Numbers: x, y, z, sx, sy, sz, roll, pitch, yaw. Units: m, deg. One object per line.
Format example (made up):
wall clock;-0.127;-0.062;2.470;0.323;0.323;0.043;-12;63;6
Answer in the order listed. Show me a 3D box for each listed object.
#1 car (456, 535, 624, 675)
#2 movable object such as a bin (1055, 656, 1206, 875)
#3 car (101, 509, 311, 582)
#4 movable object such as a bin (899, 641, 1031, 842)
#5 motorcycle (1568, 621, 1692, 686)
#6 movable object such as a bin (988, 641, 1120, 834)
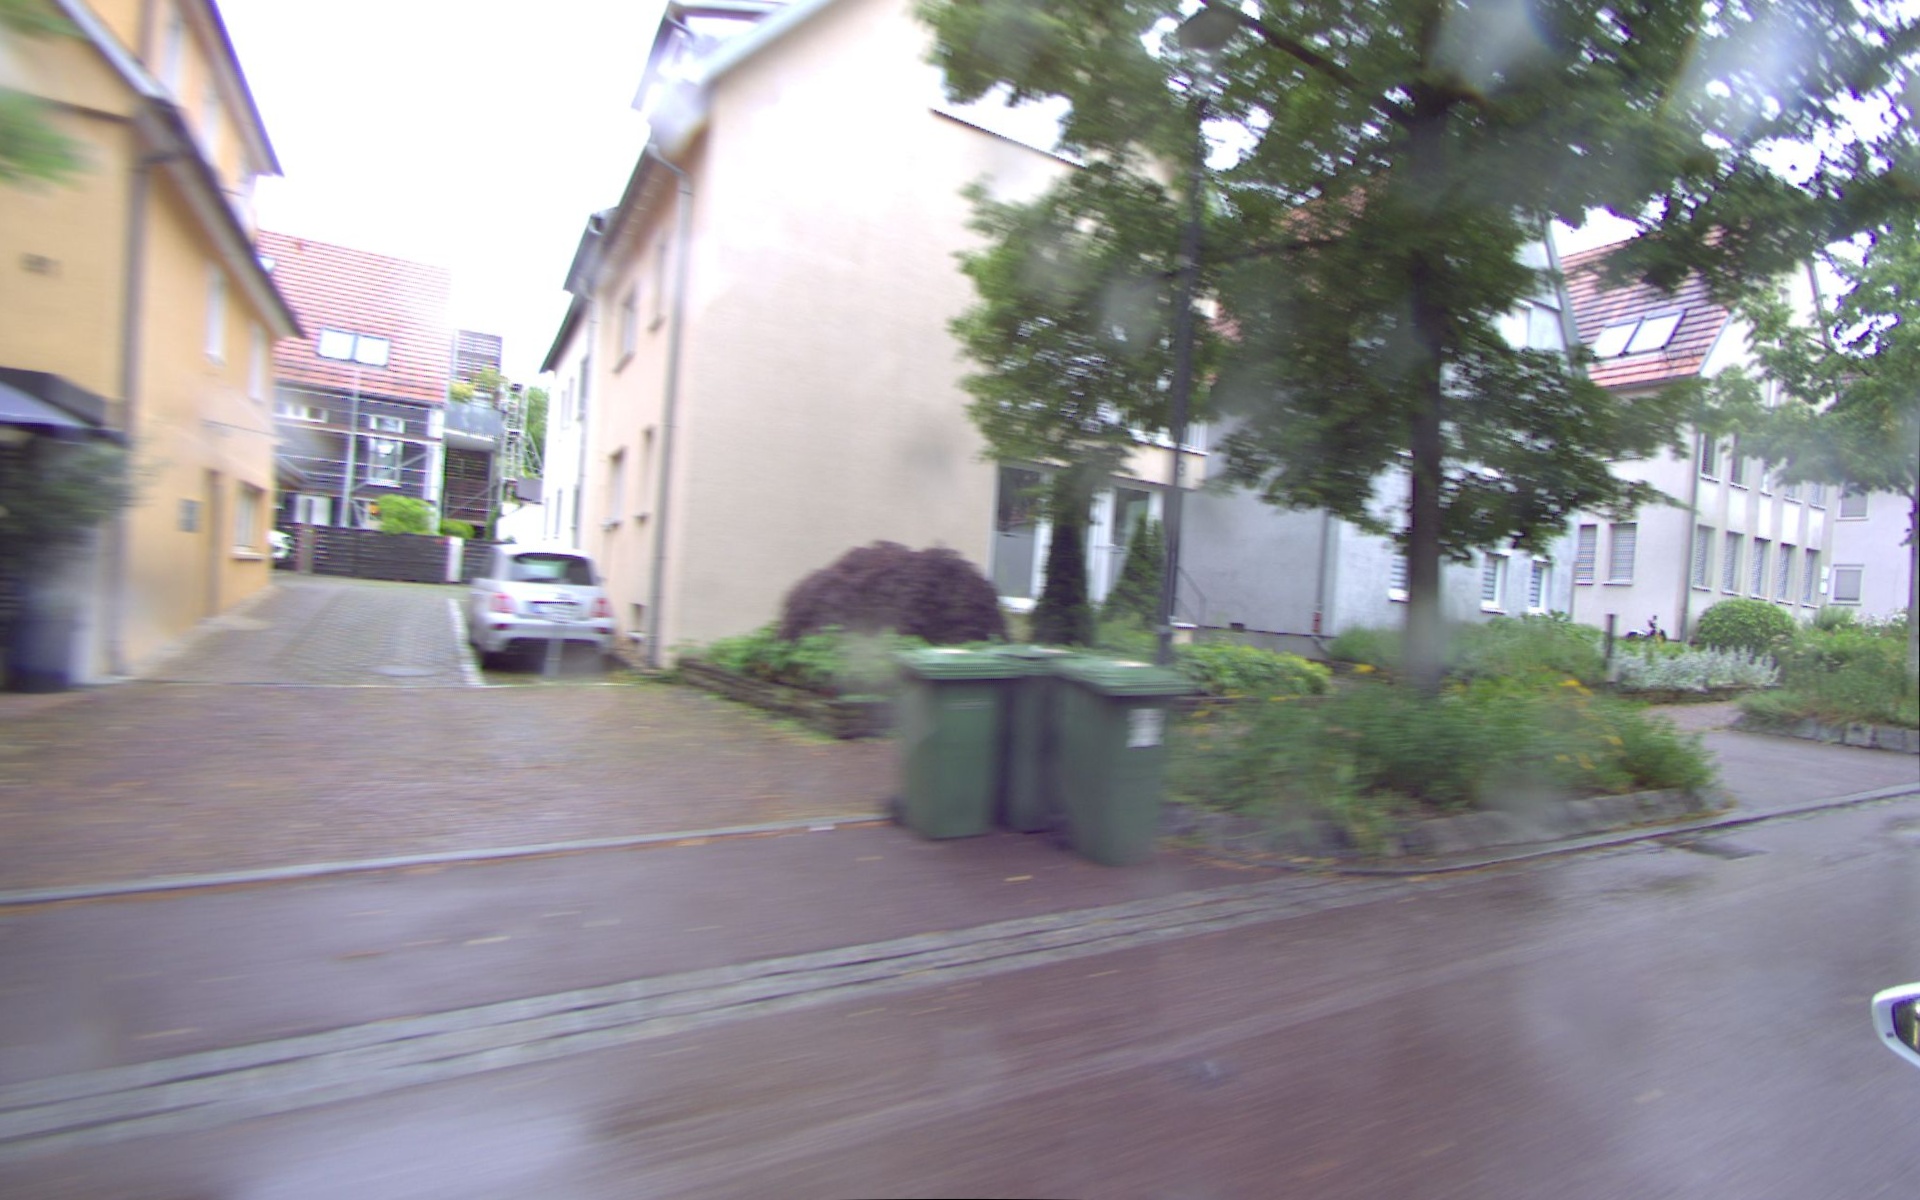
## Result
car;-5.757;-0.015;13.536;1.618;1.497;3.552;2;4;-30
movable object such as a bin;0.943;0.890;5.632;0.538;1.077;0.593;1;4;-26
car;-19.058;-1.374;25.624;3.947;1.512;1.761;3;3;-26
movable object such as a bin;0.018;0.812;5.987;0.538;1.077;0.593;2;2;-26
motorcycle;13.993;1.087;21.029;0.808;1.177;1.973;2;1;-29
movable object such as a bin;0.574;0.822;6.228;0.538;1.077;0.593;2;2;-26
